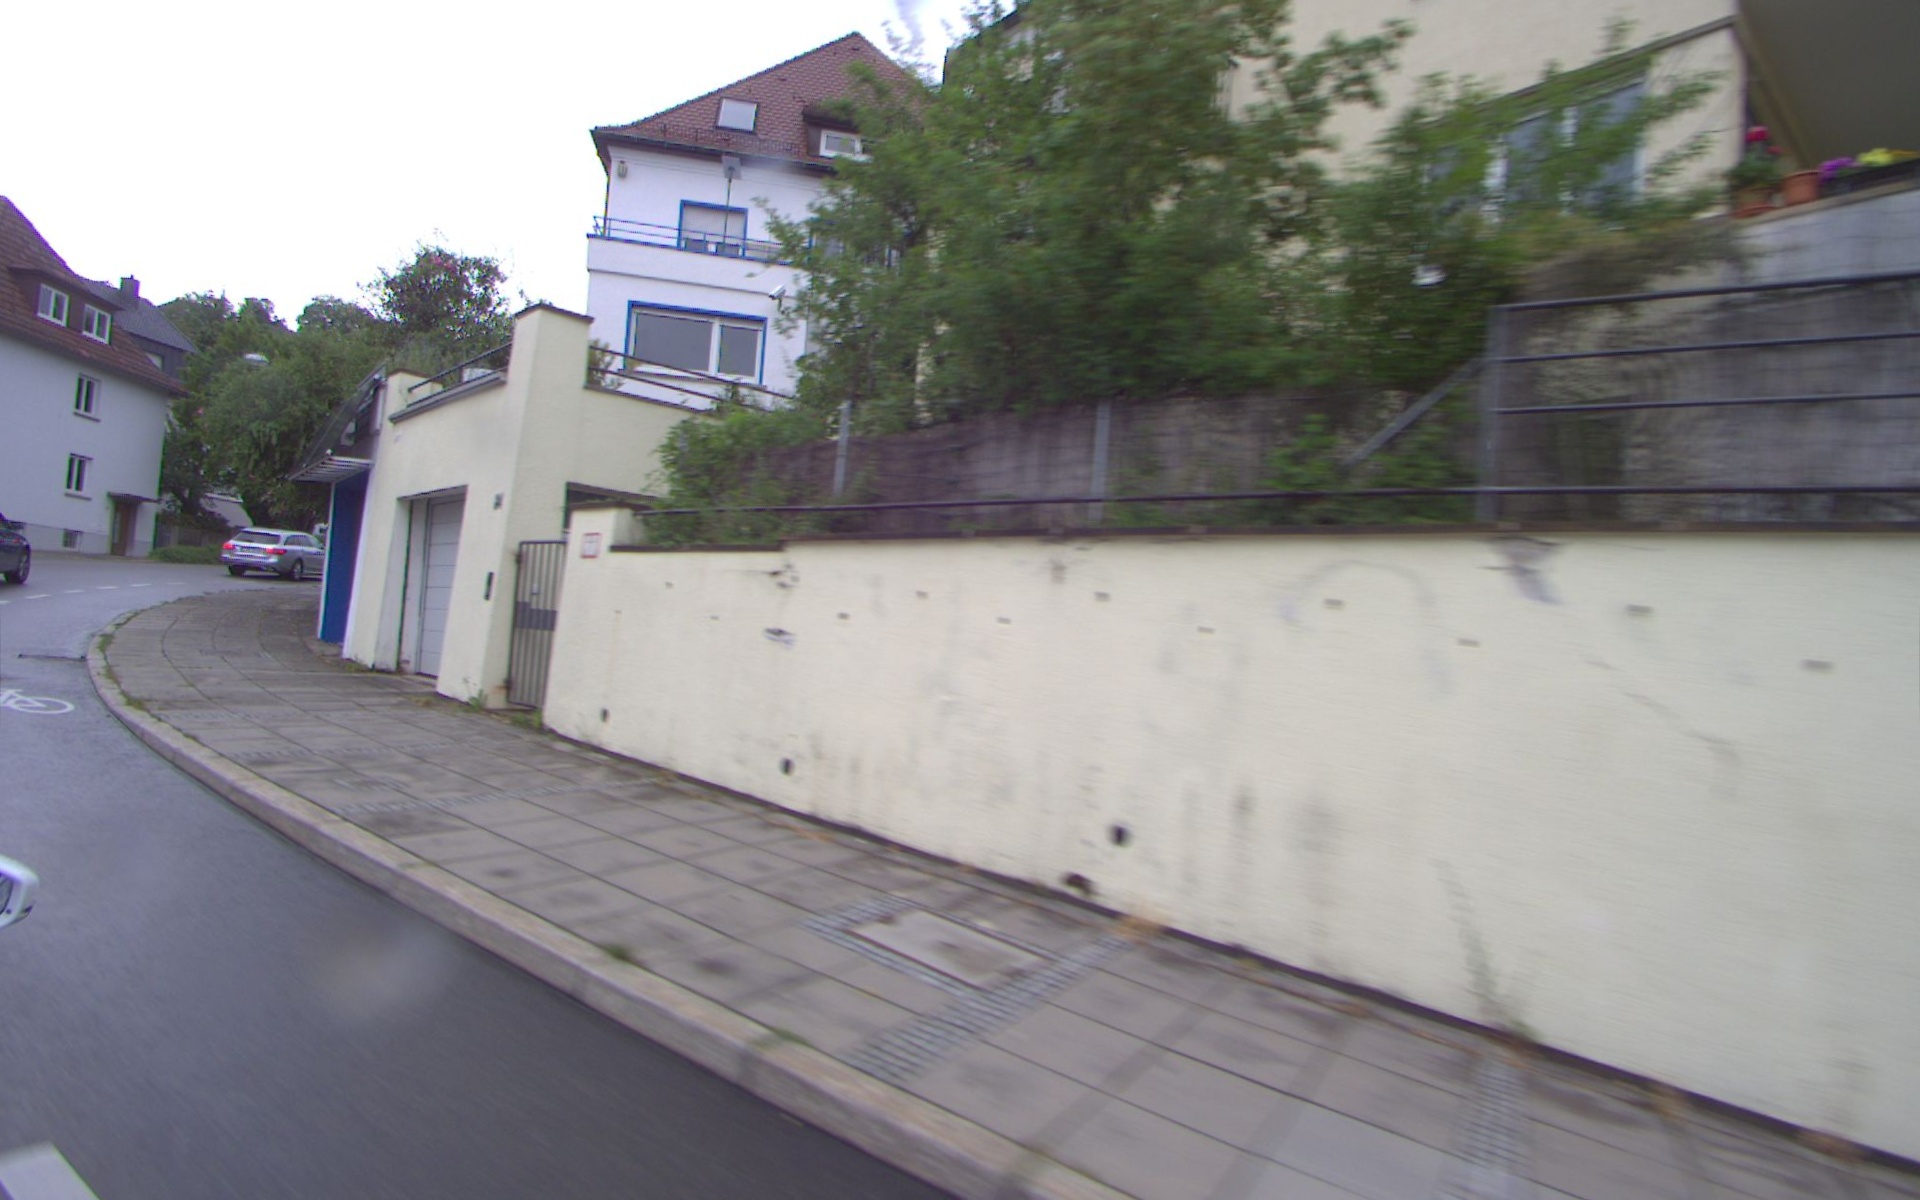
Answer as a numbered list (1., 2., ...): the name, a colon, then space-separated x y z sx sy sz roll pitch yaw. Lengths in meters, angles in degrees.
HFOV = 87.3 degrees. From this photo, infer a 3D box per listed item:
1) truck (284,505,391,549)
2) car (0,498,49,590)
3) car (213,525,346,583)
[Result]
1. truck: -45.599 -5.342 73.738 6.679 2.296 2.316 7 0 11
2. car: -16.498 -1.024 16.169 1.800 1.455 4.048 10 -2 -31
3. car: -20.704 -1.353 30.802 1.787 1.377 3.992 7 -1 -10
